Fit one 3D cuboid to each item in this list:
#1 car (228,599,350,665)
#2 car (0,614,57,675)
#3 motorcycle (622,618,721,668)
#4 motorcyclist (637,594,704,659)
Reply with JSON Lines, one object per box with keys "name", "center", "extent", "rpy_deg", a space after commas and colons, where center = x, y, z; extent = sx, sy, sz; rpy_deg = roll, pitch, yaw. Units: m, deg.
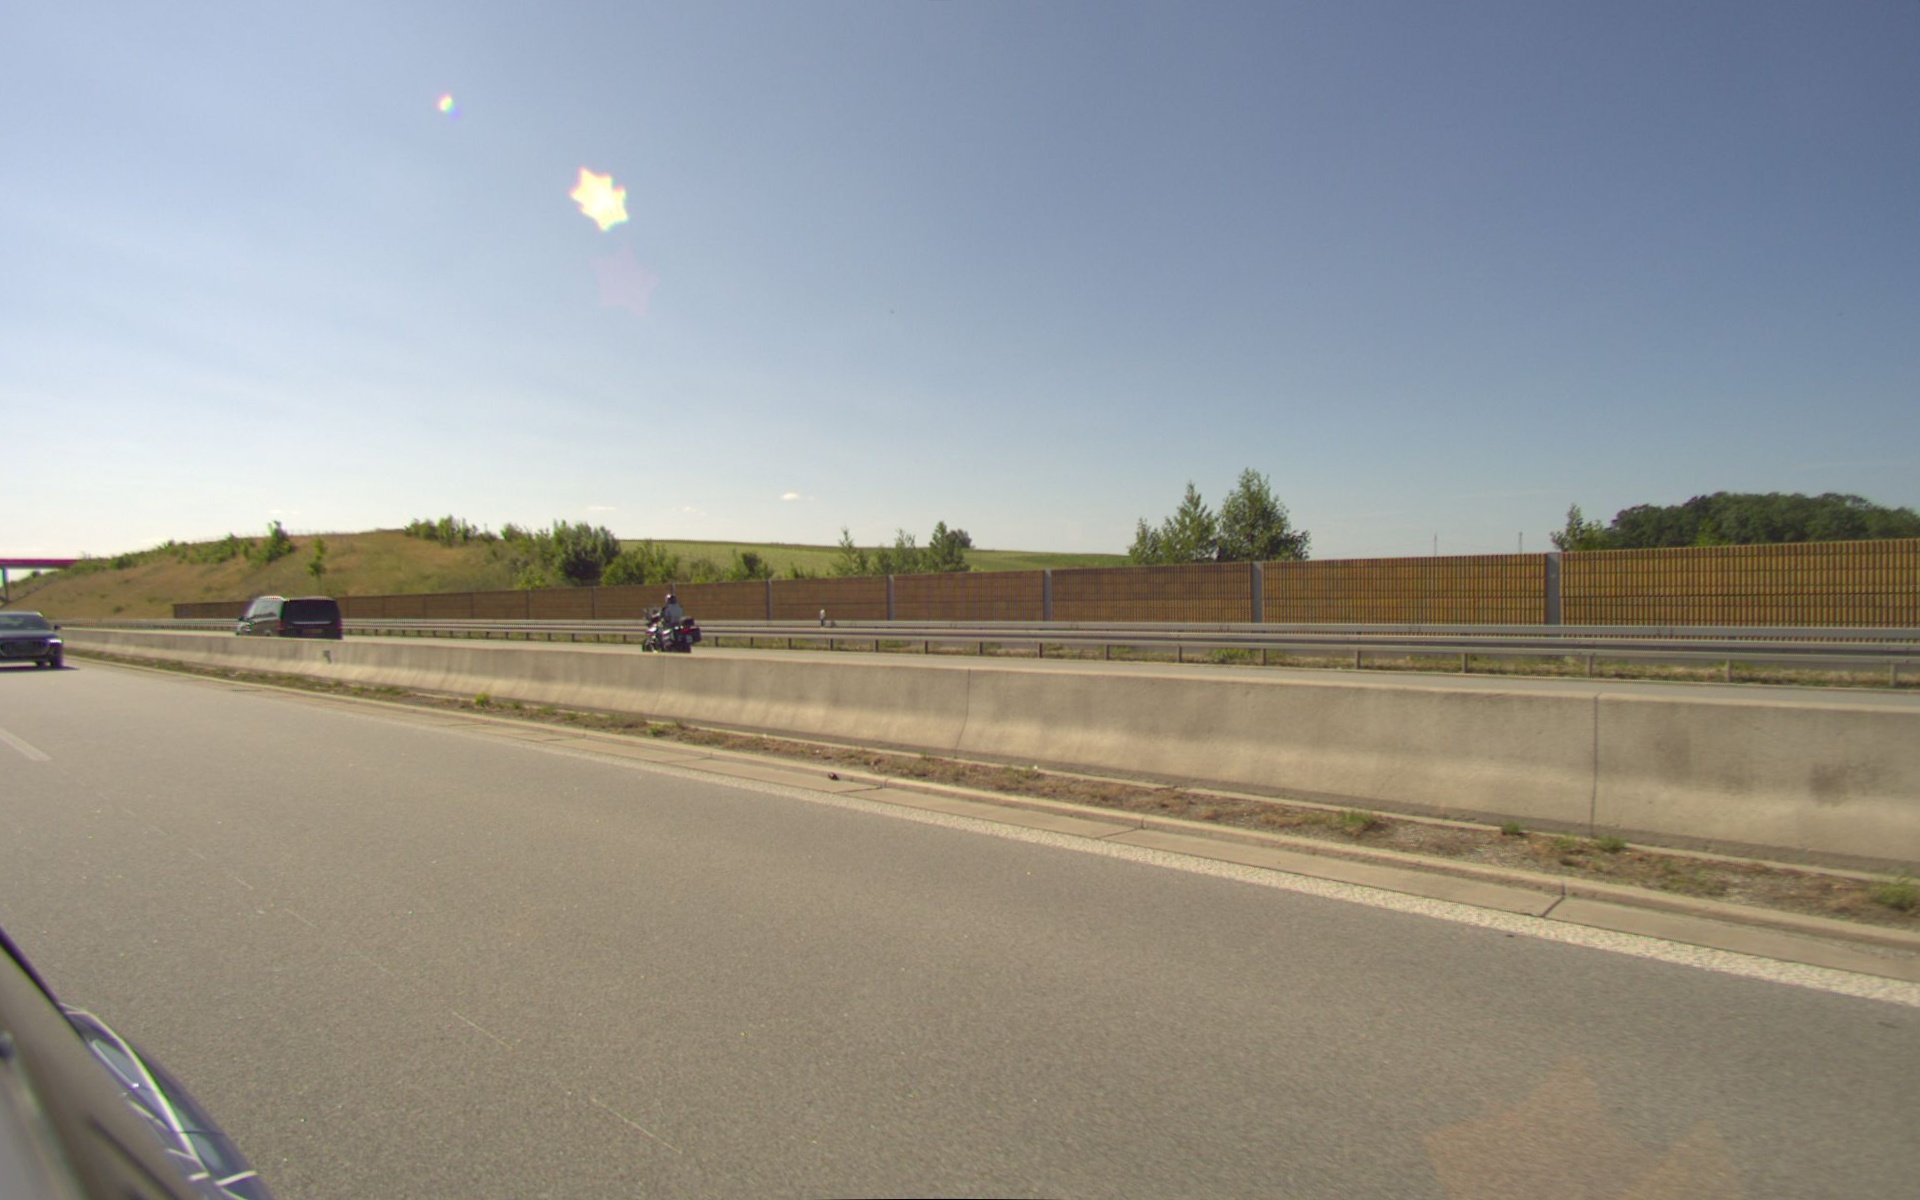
{"name": "car", "center": [-22.424, 1.009, 33.697], "extent": [5.735, 2.029, 1.973], "rpy_deg": [-1, 0, 42]}
{"name": "car", "center": [-27.312, 1.215, 28.905], "extent": [5.220, 1.599, 1.704], "rpy_deg": [-1, 0, 42]}
{"name": "motorcycle", "center": [-7.315, 1.060, 25.580], "extent": [2.867, 1.176, 1.002], "rpy_deg": [-1, 0, 41]}
{"name": "motorcyclist", "center": [-7.326, 0.646, 25.582], "extent": [1.428, 1.575, 1.002], "rpy_deg": [-1, 0, 41]}
